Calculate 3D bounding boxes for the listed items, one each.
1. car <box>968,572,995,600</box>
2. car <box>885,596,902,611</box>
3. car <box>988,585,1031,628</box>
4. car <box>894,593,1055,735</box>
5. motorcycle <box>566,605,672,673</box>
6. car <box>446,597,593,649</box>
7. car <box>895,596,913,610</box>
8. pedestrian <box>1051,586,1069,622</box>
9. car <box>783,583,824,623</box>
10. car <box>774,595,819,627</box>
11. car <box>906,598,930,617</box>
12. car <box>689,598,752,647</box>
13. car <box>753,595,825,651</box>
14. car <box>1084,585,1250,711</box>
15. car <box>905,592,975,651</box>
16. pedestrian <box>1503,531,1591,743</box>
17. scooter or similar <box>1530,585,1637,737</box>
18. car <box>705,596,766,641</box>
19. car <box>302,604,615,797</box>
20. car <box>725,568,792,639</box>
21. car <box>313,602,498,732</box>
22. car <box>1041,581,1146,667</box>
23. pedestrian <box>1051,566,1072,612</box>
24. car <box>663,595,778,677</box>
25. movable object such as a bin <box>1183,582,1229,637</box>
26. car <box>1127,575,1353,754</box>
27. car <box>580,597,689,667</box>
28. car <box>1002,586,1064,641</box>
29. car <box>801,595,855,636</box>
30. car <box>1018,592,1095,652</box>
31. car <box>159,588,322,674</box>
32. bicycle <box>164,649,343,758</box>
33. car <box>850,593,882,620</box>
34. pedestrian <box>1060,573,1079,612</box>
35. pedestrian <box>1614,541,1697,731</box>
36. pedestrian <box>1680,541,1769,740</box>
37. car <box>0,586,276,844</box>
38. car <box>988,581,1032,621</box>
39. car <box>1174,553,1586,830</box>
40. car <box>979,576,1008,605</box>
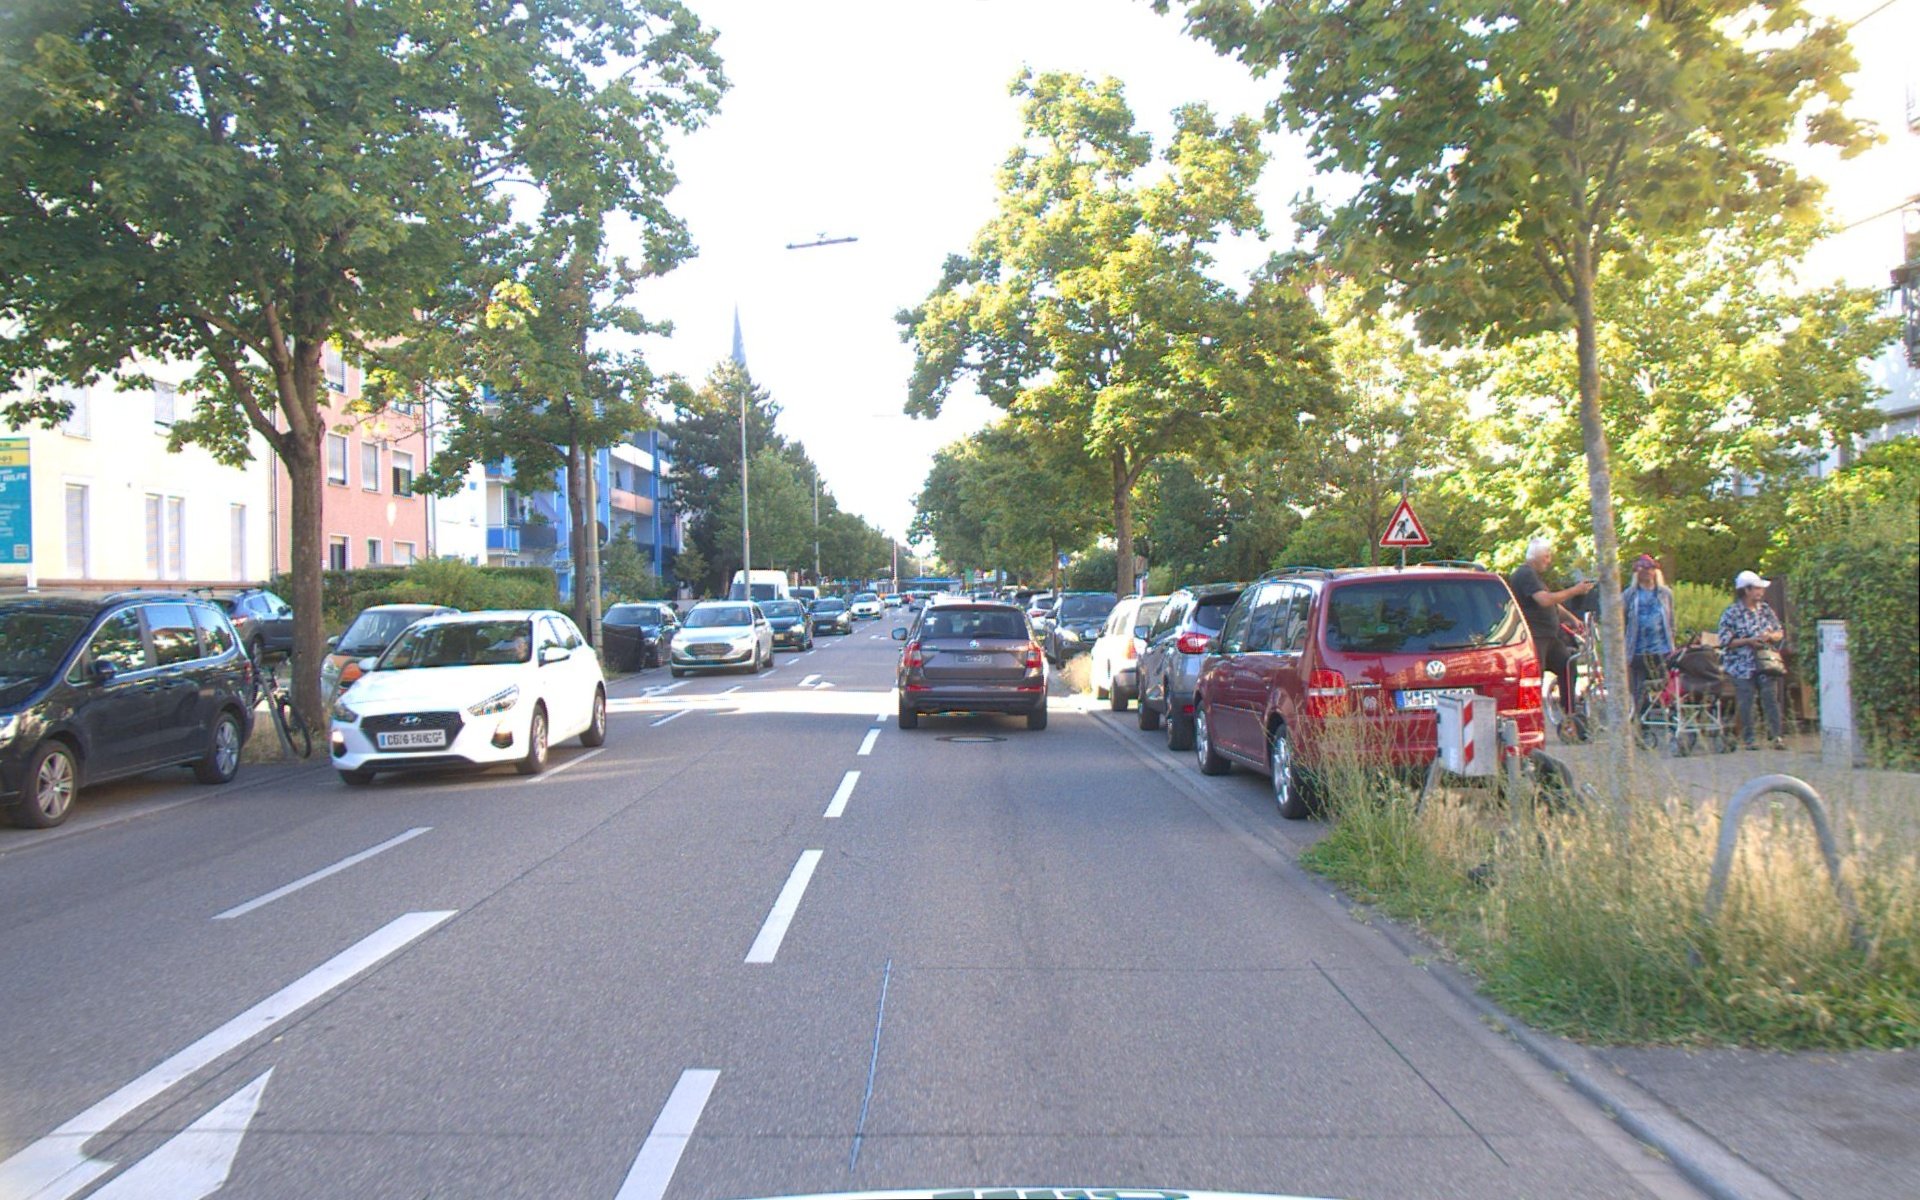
[{"bbox_3d":[1.526,-0.981,118.494,1.877,1.893,5.633,-1,0,1],"label":"car"},{"bbox_3d":[-7.196,0.344,179.516,1.744,1.520,3.970,-2,0,0],"label":"car"},{"bbox_3d":[2.062,0.247,69.956,1.718,1.691,4.252,-2,0,1],"label":"car"},{"bbox_3d":[0.188,0.677,19.739,1.718,1.518,4.000,0,0,1],"label":"car"},{"bbox_3d":[-7.306,0.842,35.486,2.002,1.413,0.979,1,-1,-33],"label":"motorcycle"},{"bbox_3d":[-13.219,0.679,49.798,3.906,1.437,1.916,1,0,-1],"label":"car"},{"bbox_3d":[-7.271,0.352,213.479,1.955,1.780,3.995,-1,0,-6],"label":"car"},{"bbox_3d":[5.062,0.188,83.398,0.781,1.751,0.745,-2,0,8],"label":"pedestrian"},{"bbox_3d":[-8.366,0.163,88.680,1.831,2.067,5.299,0,0,-1],"label":"car"},{"bbox_3d":[-7.896,0.516,80.308,1.657,1.509,4.144,-1,0,1],"label":"car"},{"bbox_3d":[-3.390,0.579,132.876,1.746,1.506,3.968,0,0,-4],"label":"car"},{"bbox_3d":[-7.872,0.719,54.595,1.579,1.498,3.812,1,0,-1],"label":"car"},{"bbox_3d":[-4.849,0.626,47.399,1.666,1.428,4.027,-3,0,-1],"label":"car"},{"bbox_3d":[2.755,0.588,22.890,1.603,1.516,4.414,-2,0,-1],"label":"car"},{"bbox_3d":[-0.593,0.600,47.075,1.854,1.533,3.788,2,-1,-1],"label":"car"},{"bbox_3d":[5.357,0.328,15.130,0.537,1.881,0.765,-2,0,6],"label":"pedestrian"},{"bbox_3d":[5.678,0.541,15.102,0.730,1.340,0.721,-1,0,6],"label":"scooter or similar"},{"bbox_3d":[-8.001,0.630,59.230,1.672,1.518,4.058,1,0,-1],"label":"car"},{"bbox_3d":[-4.600,0.838,15.823,1.779,1.471,4.108,-4,0,-2],"label":"car"},{"bbox_3d":[-7.919,0.099,65.533,1.953,2.662,7.103,0,0,-1],"label":"car"},{"bbox_3d":[-7.539,0.864,22.723,1.468,1.645,2.862,-1,0,2],"label":"car"},{"bbox_3d":[2.748,0.457,34.965,1.836,1.608,4.821,-3,0,1],"label":"car"},{"bbox_3d":[3.896,-0.425,63.204,0.771,1.730,0.808,-1,0,4],"label":"pedestrian"},{"bbox_3d":[-5.010,0.718,35.195,1.795,1.496,4.450,-4,0,-1],"label":"car"},{"bbox_3d":[7.262,0.275,48.809,1.240,1.518,1.140,-3,0,9],"label":"movable object such as a bin"},{"bbox_3d":[2.801,0.585,17.351,1.603,1.595,3.999,-2,0,-1],"label":"car"},{"bbox_3d":[-7.681,0.725,39.445,1.742,1.531,4.587,-1,0,-1],"label":"car"},{"bbox_3d":[2.293,0.403,52.612,1.683,1.629,4.095,-1,0,-1],"label":"car"},{"bbox_3d":[-5.256,0.589,66.287,1.665,1.496,4.295,-2,0,2],"label":"car"},{"bbox_3d":[2.582,0.564,45.187,1.683,1.520,4.392,-1,0,-2],"label":"car"},{"bbox_3d":[-15.326,0.641,35.452,1.790,1.712,3.999,-1,0,-1],"label":"car"},{"bbox_3d":[-7.437,1.081,17.441,1.640,1.108,0.560,0,0,1],"label":"bicycle"},{"bbox_3d":[-5.732,0.373,100.495,1.842,1.570,4.264,-1,0,-4],"label":"car"},{"bbox_3d":[5.438,-0.377,81.790,0.781,1.893,0.951,-2,0,10],"label":"pedestrian"},{"bbox_3d":[6.480,0.329,15.425,0.500,1.726,0.526,-1,0,-6],"label":"pedestrian"},{"bbox_3d":[6.801,0.351,14.723,0.500,1.726,0.526,-1,0,-6],"label":"pedestrian"},{"bbox_3d":[-7.454,0.795,13.558,1.747,1.763,4.617,-1,0,0],"label":"car"},{"bbox_3d":[2.353,0.042,79.146,1.764,1.840,4.421,0,0,-3],"label":"car"},{"bbox_3d":[2.907,0.554,12.543,1.687,1.684,4.594,-1,0,-4],"label":"car"},{"bbox_3d":[2.061,-0.586,102.128,1.718,1.716,4.252,0,0,1],"label":"car"}]
